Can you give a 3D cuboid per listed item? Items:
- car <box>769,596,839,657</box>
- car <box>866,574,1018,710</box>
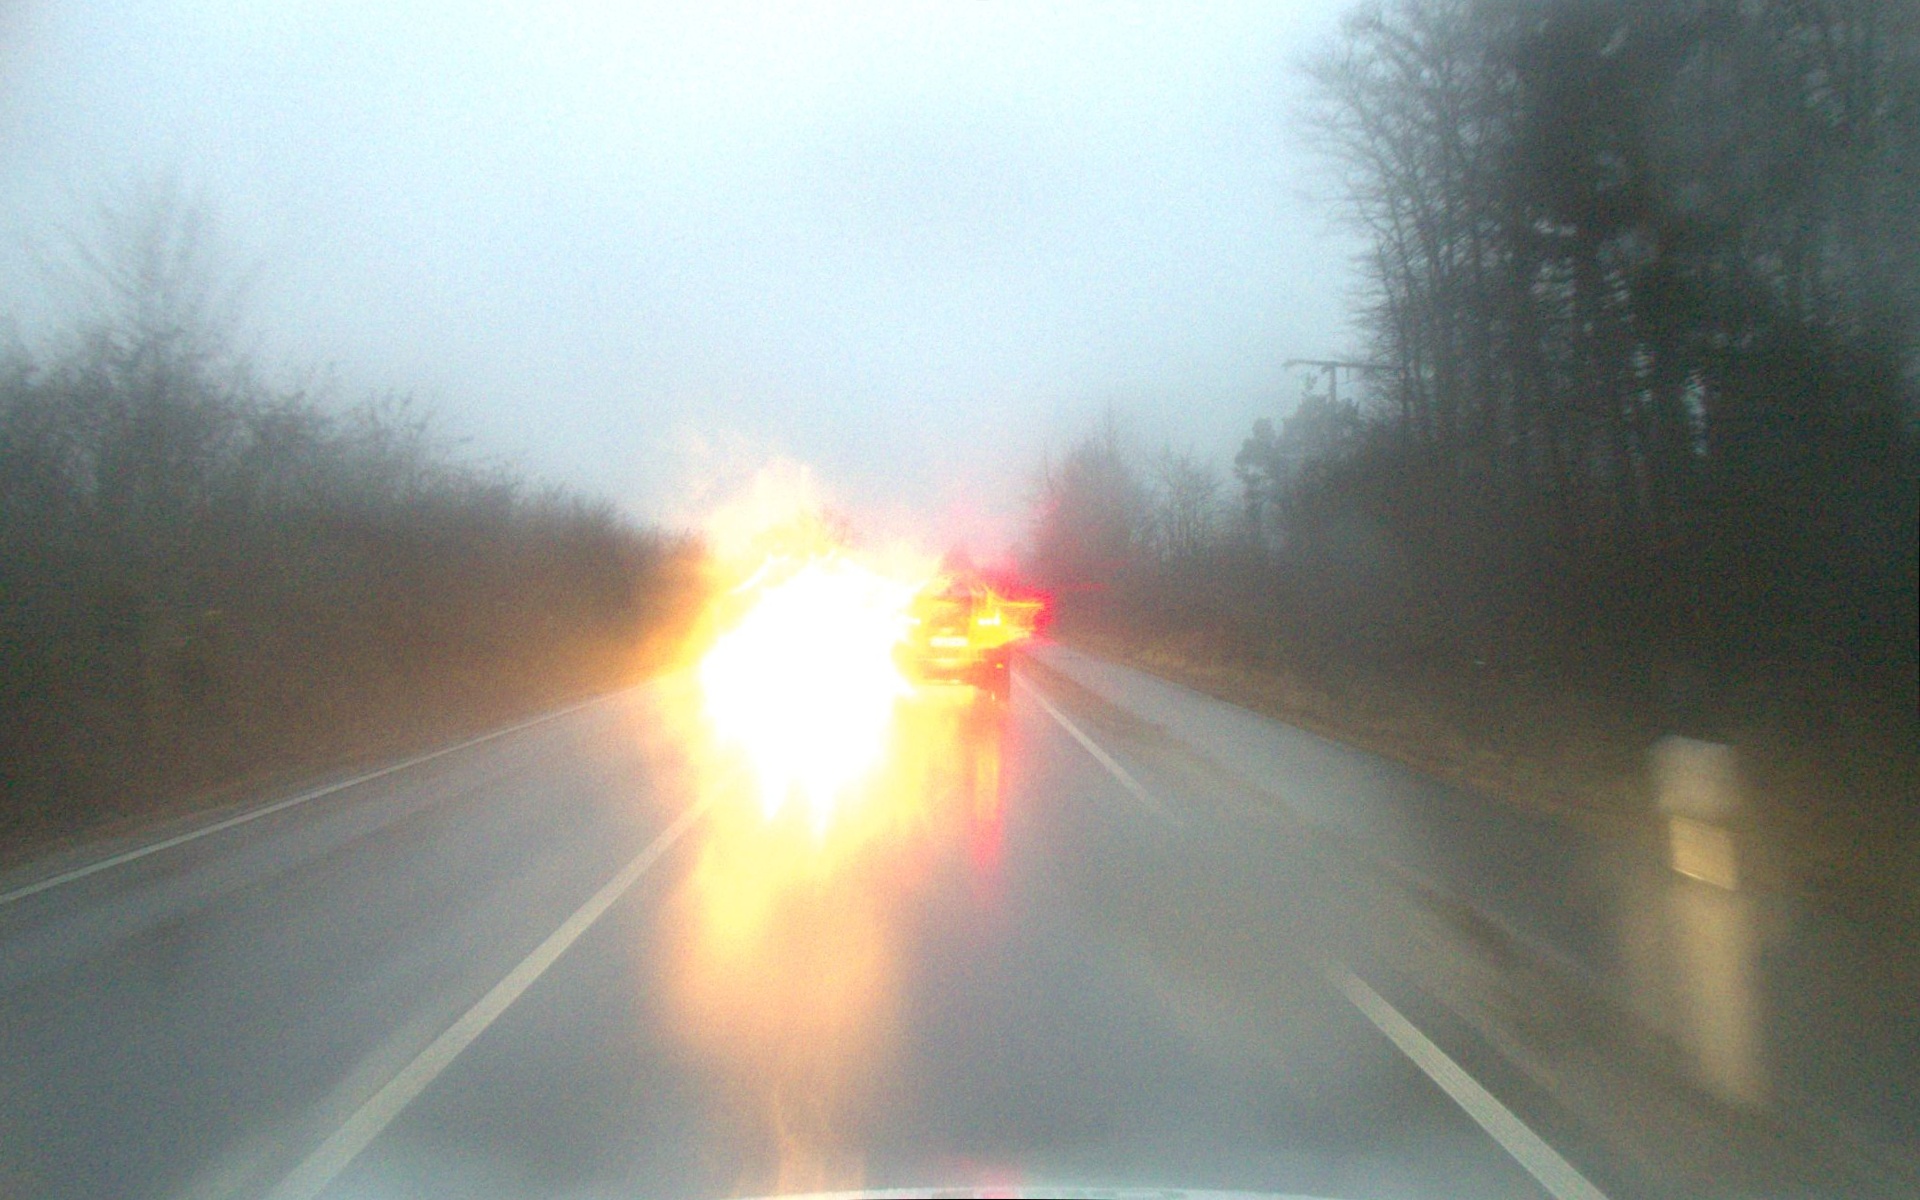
[{"bbox_3d":[-4.544,0.746,48.632,1.731,1.626,3.998,-2,0,-2],"label":"car"},{"bbox_3d":[-0.298,0.571,25.221,2.077,1.852,4.979,0,0,-1],"label":"car"}]
